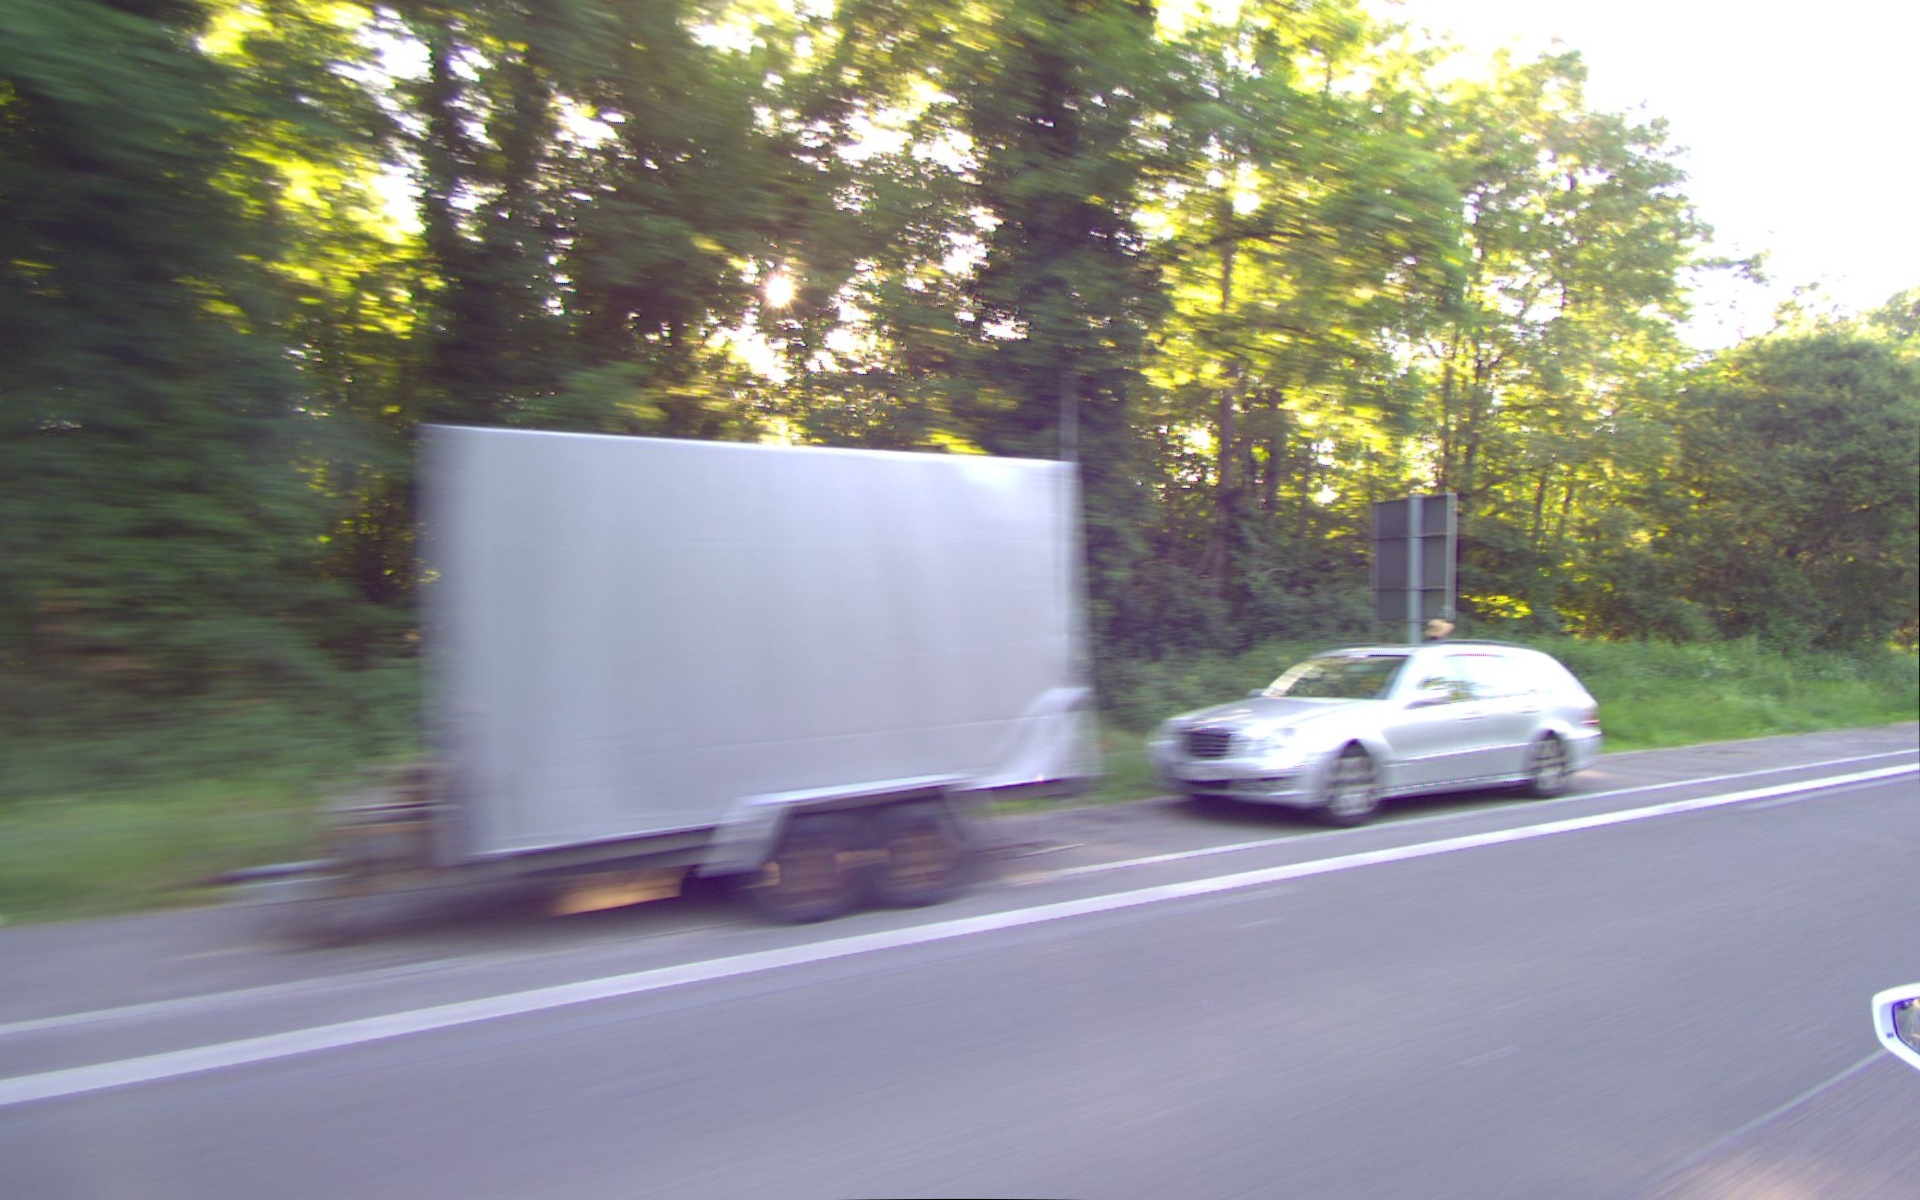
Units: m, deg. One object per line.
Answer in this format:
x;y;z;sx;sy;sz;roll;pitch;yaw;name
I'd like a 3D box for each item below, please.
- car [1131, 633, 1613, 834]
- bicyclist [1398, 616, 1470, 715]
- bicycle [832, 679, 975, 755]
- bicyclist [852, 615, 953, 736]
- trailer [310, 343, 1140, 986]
3.923;1.060;9.348;4.572;1.472;1.789;1;-3;-31;car
6.969;0.944;14.771;0.790;1.392;0.601;1;0;-30;bicyclist
-0.604;1.253;10.933;1.470;0.722;0.519;1;0;-30;bicycle
-0.624;0.798;10.932;0.962;1.251;0.484;1;0;-30;bicyclist
-1.244;0.339;6.087;4.364;2.631;1.984;1;-3;-30;trailer
